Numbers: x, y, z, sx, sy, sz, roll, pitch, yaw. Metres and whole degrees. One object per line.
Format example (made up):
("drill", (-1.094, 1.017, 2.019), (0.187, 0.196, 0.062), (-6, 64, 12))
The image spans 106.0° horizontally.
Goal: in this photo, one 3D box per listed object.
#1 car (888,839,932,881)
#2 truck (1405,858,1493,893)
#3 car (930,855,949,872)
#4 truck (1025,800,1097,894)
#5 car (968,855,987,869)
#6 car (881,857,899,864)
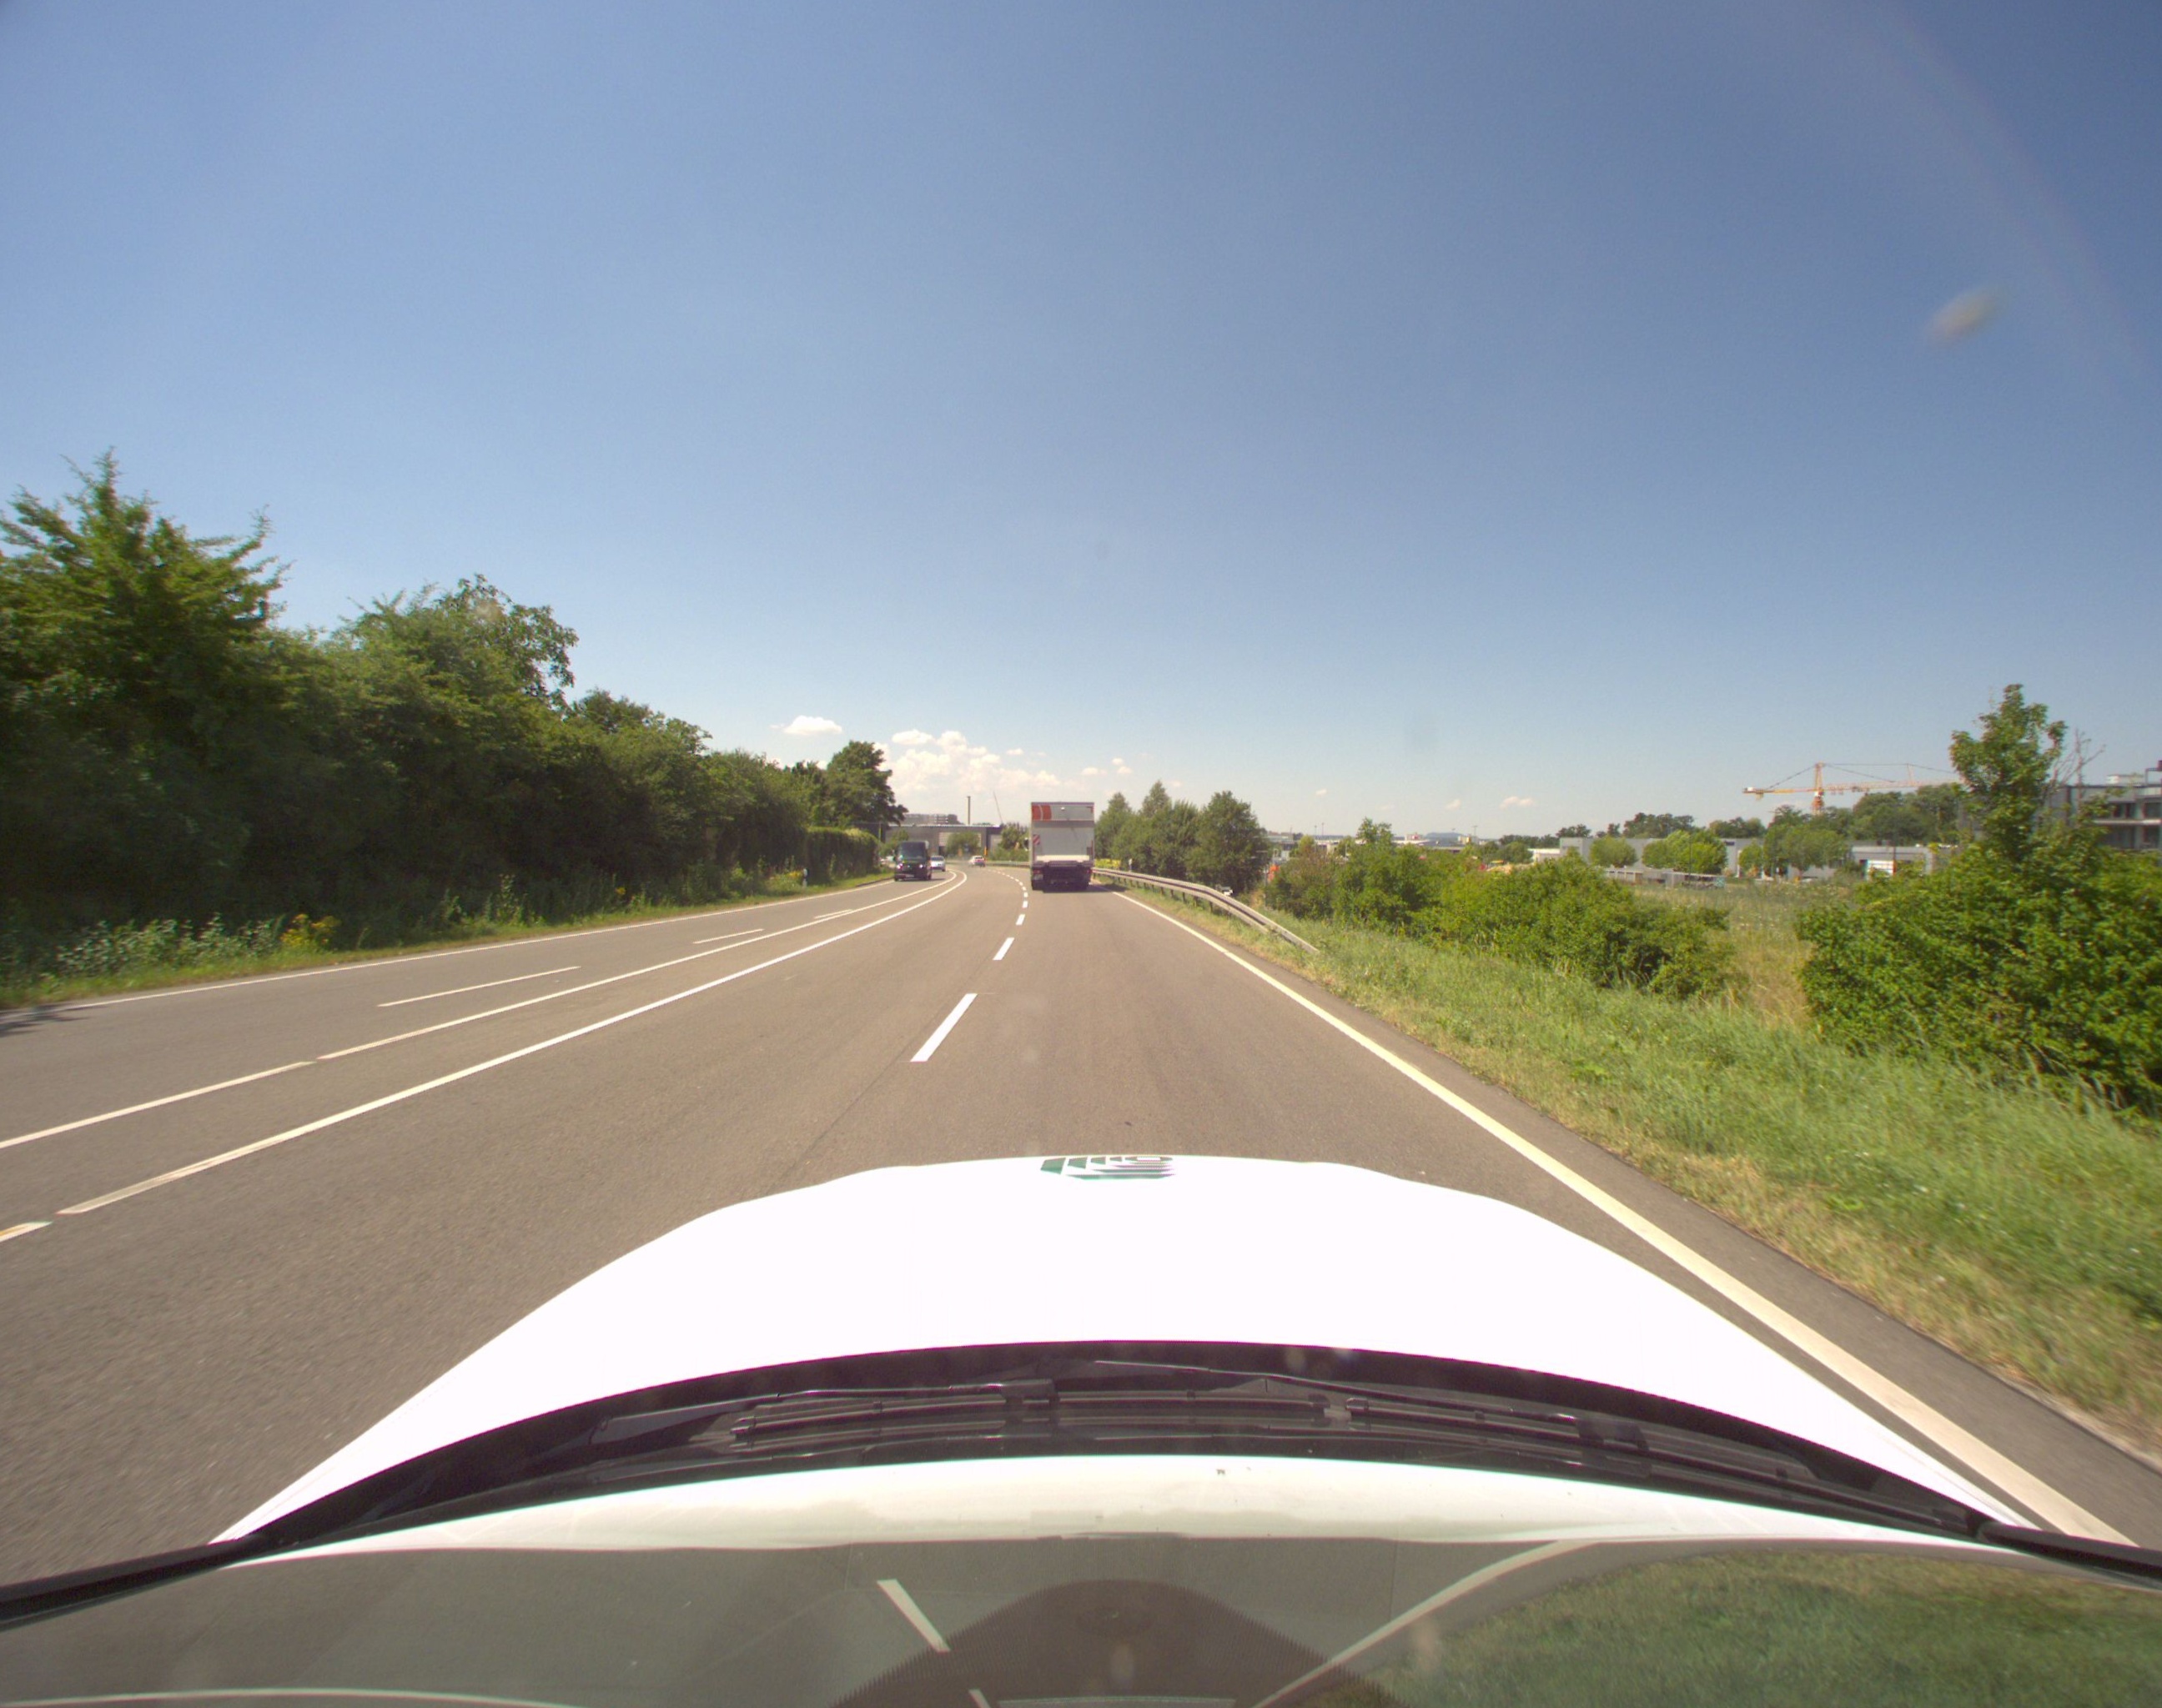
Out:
("car", (-10.944, 0.382, 52.502), (2.185, 2.541, 6.023), (1, 0, -6))
("truck", (45.037, 2.591, 99.817), (9.299, 3.684, 3.151), (3, 1, 32))
("car", (-14.634, 0.962, 84.159), (1.837, 1.593, 4.800), (1, 0, -10))
("truck", (-1.078, -0.293, 36.804), (2.798, 3.711, 9.093), (0, 0, -4))
("car", (-13.884, 1.088, 109.487), (1.947, 1.664, 3.979), (2, -1, -15))
("car", (-54.773, 1.768, 233.321), (4.740, 1.932, 2.149), (-1, -1, -7))
